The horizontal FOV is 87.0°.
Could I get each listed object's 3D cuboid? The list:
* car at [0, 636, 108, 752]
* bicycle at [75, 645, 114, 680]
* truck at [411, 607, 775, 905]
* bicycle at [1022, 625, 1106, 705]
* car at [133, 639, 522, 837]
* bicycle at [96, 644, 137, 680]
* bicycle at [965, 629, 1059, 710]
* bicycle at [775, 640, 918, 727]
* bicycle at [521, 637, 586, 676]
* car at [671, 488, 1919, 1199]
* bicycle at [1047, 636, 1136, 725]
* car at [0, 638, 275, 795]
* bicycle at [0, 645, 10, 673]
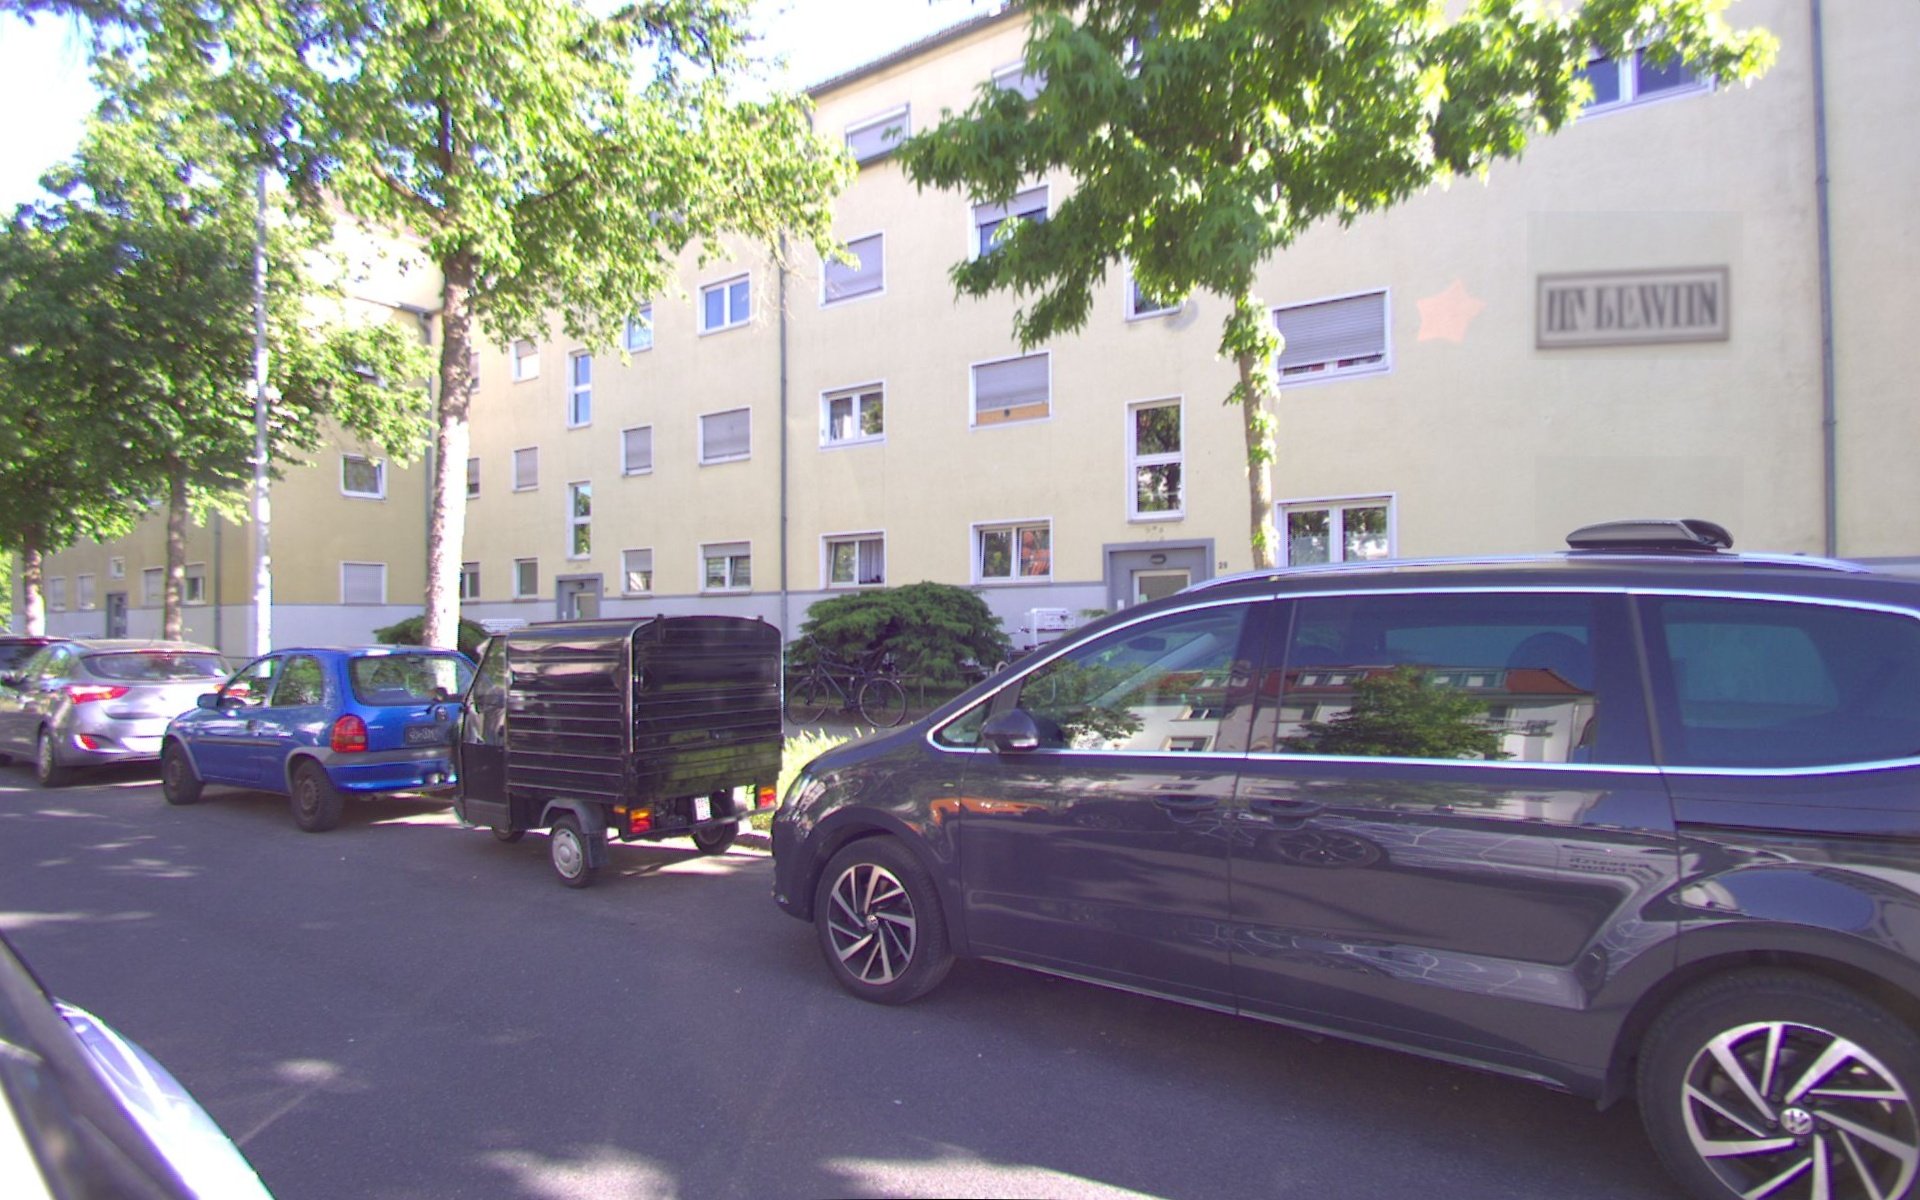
[{"bbox_3d":[-14.262,1.314,14.869,4.259,1.527,1.606,-2,-4,35],"label":"car"},{"bbox_3d":[-26.761,1.909,31.279,1.744,1.034,0.535,-2,-2,36],"label":"bicycle"},{"bbox_3d":[-2.436,0.873,6.577,2.427,1.589,1.074,-2,-2,37],"label":"truck"},{"bbox_3d":[1.729,1.035,16.644,0.486,1.154,1.822,0,1,37],"label":"bicycle"},{"bbox_3d":[-5.670,1.058,8.957,3.716,1.406,1.508,-2,-2,33],"label":"car"},{"bbox_3d":[-25.174,1.850,30.185,1.745,1.034,0.531,-2,-2,36],"label":"bicycle"},{"bbox_3d":[0.826,1.034,15.515,0.486,1.089,1.822,0,1,37],"label":"bicycle"},{"bbox_3d":[-1.502,1.100,13.458,1.825,1.089,0.485,-1,1,11],"label":"bicycle"},{"bbox_3d":[-10.142,1.396,25.304,0.478,0.938,1.623,-2,-2,26],"label":"bicycle"},{"bbox_3d":[1.291,0.697,3.849,4.963,1.693,1.834,-2,-5,34],"label":"car"},{"bbox_3d":[1.794,1.043,13.571,0.485,1.089,1.826,-2,-2,31],"label":"bicycle"},{"bbox_3d":[-9.771,1.178,11.515,4.679,1.455,1.775,-2,-4,36],"label":"car"},{"bbox_3d":[-35.057,2.146,36.769,1.541,1.008,0.449,-2,-2,35],"label":"bicycle"}]
